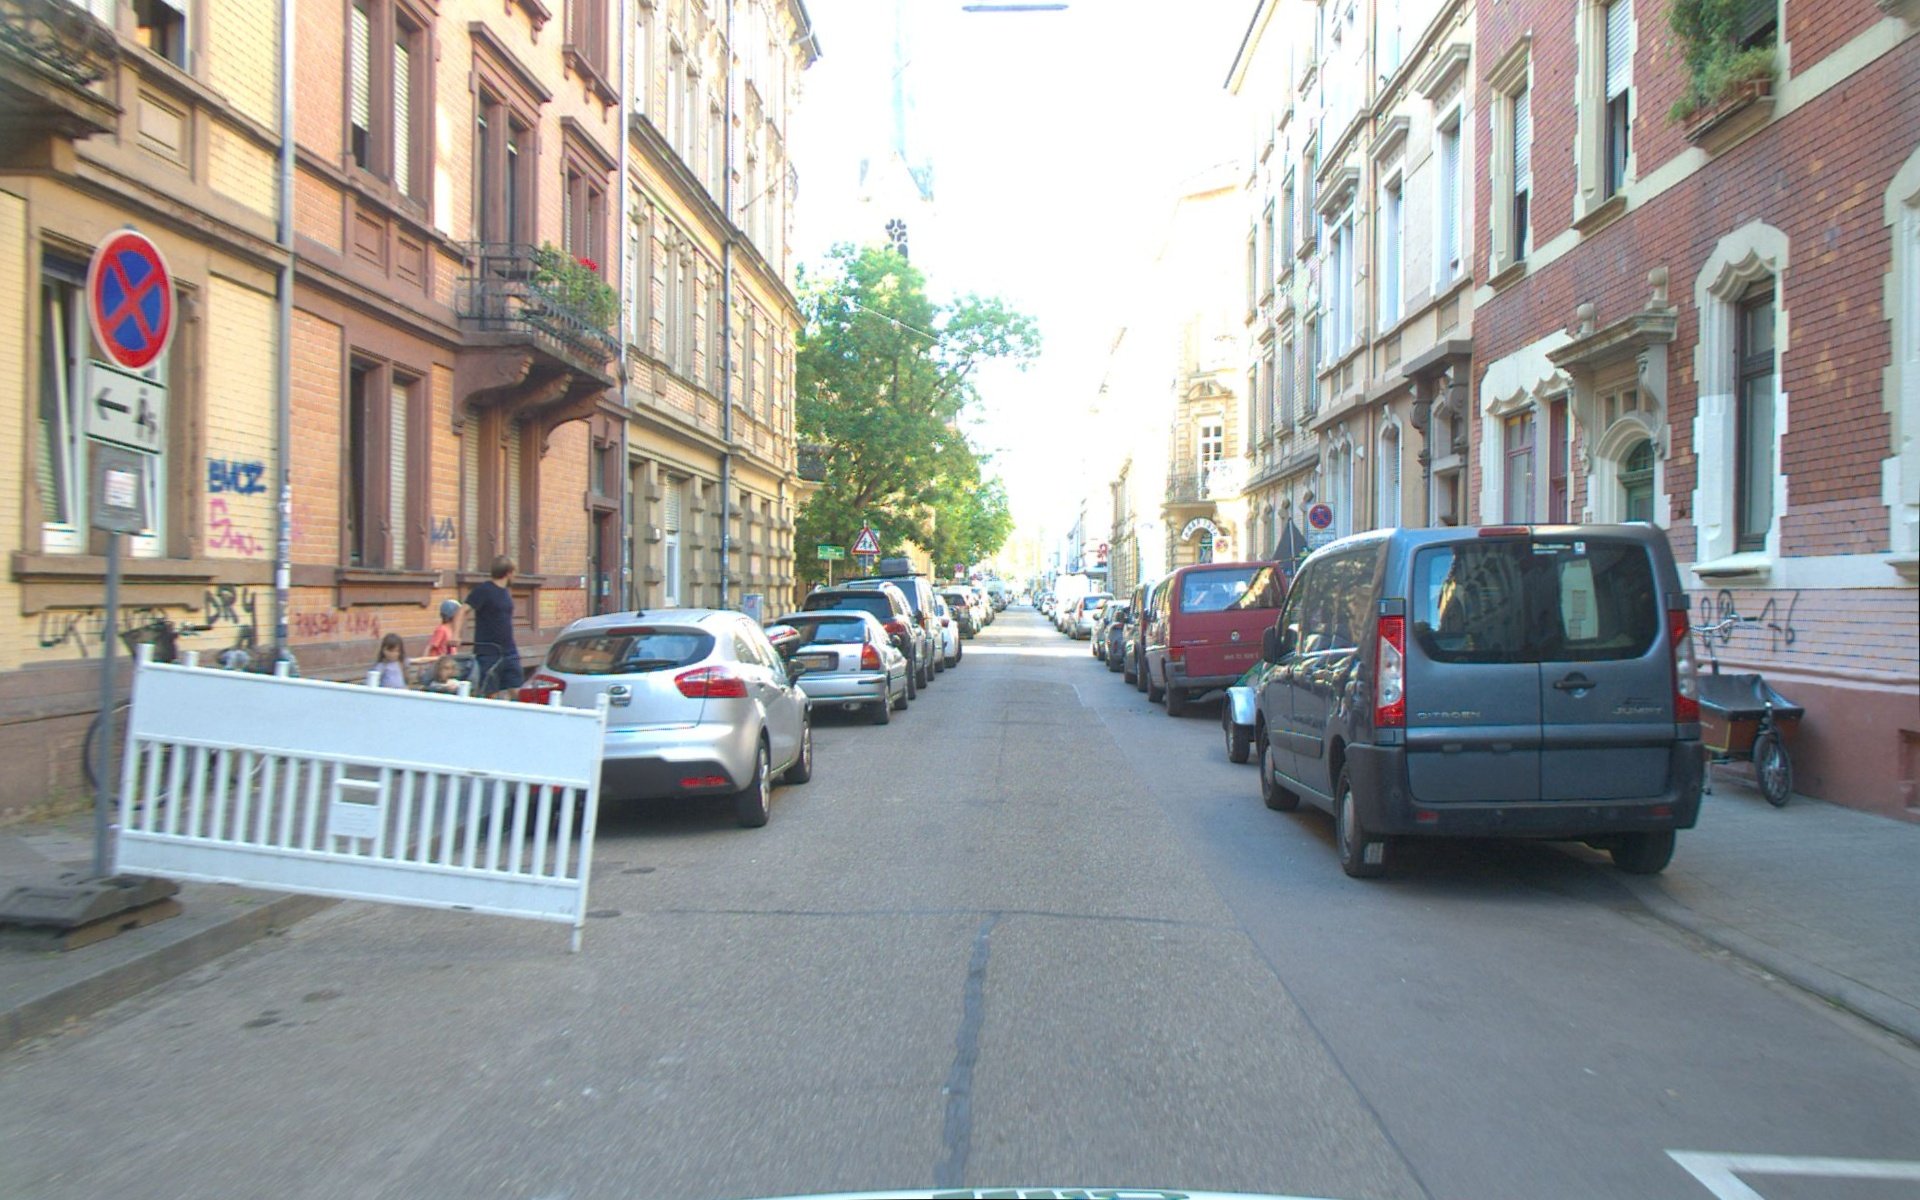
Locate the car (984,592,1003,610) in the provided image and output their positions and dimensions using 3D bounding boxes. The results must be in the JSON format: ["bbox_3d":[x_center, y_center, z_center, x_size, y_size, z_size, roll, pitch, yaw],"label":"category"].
[{"bbox_3d":[3.400,0.105,168.640,1.837,1.828,4.000,0,0,1],"label":"car"}]

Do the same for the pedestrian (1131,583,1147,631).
[{"bbox_3d":[6.581,0.250,60.823,0.562,1.763,0.664,-1,1,5],"label":"pedestrian"}]

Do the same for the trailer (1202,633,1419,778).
[{"bbox_3d":[3.342,0.969,16.252,1.474,1.132,3.039,3,0,1],"label":"trailer"}]

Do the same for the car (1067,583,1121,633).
[{"bbox_3d":[4.901,0.277,60.853,1.668,1.744,3.938,-1,0,0],"label":"car"}]

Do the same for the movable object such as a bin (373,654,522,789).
[{"bbox_3d":[-4.001,0.924,13.014,0.746,0.948,1.415,0,0,-1],"label":"movable object such as a bin"}]

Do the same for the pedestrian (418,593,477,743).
[{"bbox_3d":[-4.640,0.601,14.970,0.390,1.329,0.426,1,0,-35],"label":"pedestrian"}]

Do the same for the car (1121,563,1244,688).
[{"bbox_3d":[3.862,0.404,29.259,1.733,1.995,4.265,1,0,2],"label":"car"}]

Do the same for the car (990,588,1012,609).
[{"bbox_3d":[3.626,-0.126,146.860,1.836,1.828,4.001,0,0,3],"label":"car"}]

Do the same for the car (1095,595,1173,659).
[{"bbox_3d":[4.362,0.645,42.056,1.670,1.484,4.513,1,0,3],"label":"car"}]

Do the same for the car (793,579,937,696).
[{"bbox_3d":[-1.417,0.540,26.338,1.750,1.652,4.610,1,0,3],"label":"car"}]

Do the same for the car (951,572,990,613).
[{"bbox_3d":[0.577,-0.390,86.538,1.825,1.991,4.611,-2,0,2],"label":"car"}]

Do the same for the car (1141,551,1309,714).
[{"bbox_3d":[3.647,0.402,23.553,1.794,2.049,4.743,1,0,2],"label":"car"}]

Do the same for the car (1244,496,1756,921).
[{"bbox_3d":[3.040,0.519,10.411,1.806,2.018,4.577,2,0,2],"label":"car"}]

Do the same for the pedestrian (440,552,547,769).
[{"bbox_3d":[-3.982,0.497,14.170,0.671,1.796,0.887,0,0,-1],"label":"pedestrian"}]

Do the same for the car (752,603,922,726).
[{"bbox_3d":[-1.483,0.758,21.295,1.663,1.337,4.001,3,0,2],"label":"car"}]

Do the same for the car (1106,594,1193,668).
[{"bbox_3d":[4.118,0.638,36.357,1.632,1.505,3.889,0,1,3],"label":"car"}]

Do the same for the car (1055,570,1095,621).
[{"bbox_3d":[6.239,-0.266,90.201,2.025,2.656,5.890,0,0,2],"label":"car"}]

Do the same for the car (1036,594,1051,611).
[{"bbox_3d":[10.669,0.293,210.969,1.952,2.049,4.001,0,0,3],"label":"car"}]

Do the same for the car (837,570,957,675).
[{"bbox_3d":[-1.129,0.398,31.656,1.853,1.816,4.609,1,0,3],"label":"car"}]

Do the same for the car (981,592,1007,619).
[{"bbox_3d":[2.220,0.331,107.619,1.567,1.642,3.809,-2,0,2],"label":"car"}]

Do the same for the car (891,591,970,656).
[{"bbox_3d":[-0.685,0.555,41.327,1.687,1.507,4.091,1,0,3],"label":"car"}]

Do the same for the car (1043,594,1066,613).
[{"bbox_3d":[7.668,0.257,134.734,1.858,1.514,3.871,0,0,3],"label":"car"}]

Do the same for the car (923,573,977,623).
[{"bbox_3d":[-0.341,-0.099,64.855,1.807,1.895,4.467,0,1,3],"label":"car"}]

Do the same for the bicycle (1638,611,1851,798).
[{"bbox_3d":[5.780,0.721,12.322,0.654,1.244,1.992,-3,-1,3],"label":"bicycle"}]

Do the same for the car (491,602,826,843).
[{"bbox_3d":[-2.053,0.771,12.371,1.639,1.443,4.001,-2,0,1],"label":"car"}]

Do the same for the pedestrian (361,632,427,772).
[{"bbox_3d":[-4.606,0.824,13.468,0.386,1.105,0.431,1,0,-3],"label":"pedestrian"}]

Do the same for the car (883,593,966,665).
[{"bbox_3d":[-0.722,0.592,36.259,1.639,1.445,3.875,1,0,1],"label":"car"}]

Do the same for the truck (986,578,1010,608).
[{"bbox_3d":[4.295,-0.811,185.115,2.479,3.339,6.997,0,0,3],"label":"truck"}]

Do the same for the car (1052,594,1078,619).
[{"bbox_3d":[6.714,0.411,106.007,1.570,1.531,4.002,1,0,4],"label":"car"}]

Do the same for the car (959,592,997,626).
[{"bbox_3d":[0.891,0.434,80.563,1.706,1.614,3.870,0,0,2],"label":"car"}]

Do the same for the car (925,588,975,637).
[{"bbox_3d":[-0.339,0.407,59.254,1.705,1.675,4.289,0,0,0],"label":"car"}]

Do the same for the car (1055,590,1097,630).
[{"bbox_3d":[5.272,0.435,75.434,1.770,1.719,4.216,2,0,3],"label":"car"}]

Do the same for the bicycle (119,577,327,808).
[{"bbox_3d":[-5.036,0.593,11.426,0.513,1.450,1.712,3,0,3],"label":"bicycle"}]

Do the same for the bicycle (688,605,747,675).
[{"bbox_3d":[-4.238,0.681,29.000,0.653,1.145,1.786,2,1,3],"label":"bicycle"}]

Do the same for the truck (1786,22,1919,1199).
[{"bbox_3d":[2.920,0.216,0.429,2.105,2.703,6.253,-4,0,0],"label":"truck"}]

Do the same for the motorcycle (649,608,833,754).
[{"bbox_3d":[-2.312,0.821,17.209,0.836,1.384,2.165,-3,0,-40],"label":"motorcycle"}]
